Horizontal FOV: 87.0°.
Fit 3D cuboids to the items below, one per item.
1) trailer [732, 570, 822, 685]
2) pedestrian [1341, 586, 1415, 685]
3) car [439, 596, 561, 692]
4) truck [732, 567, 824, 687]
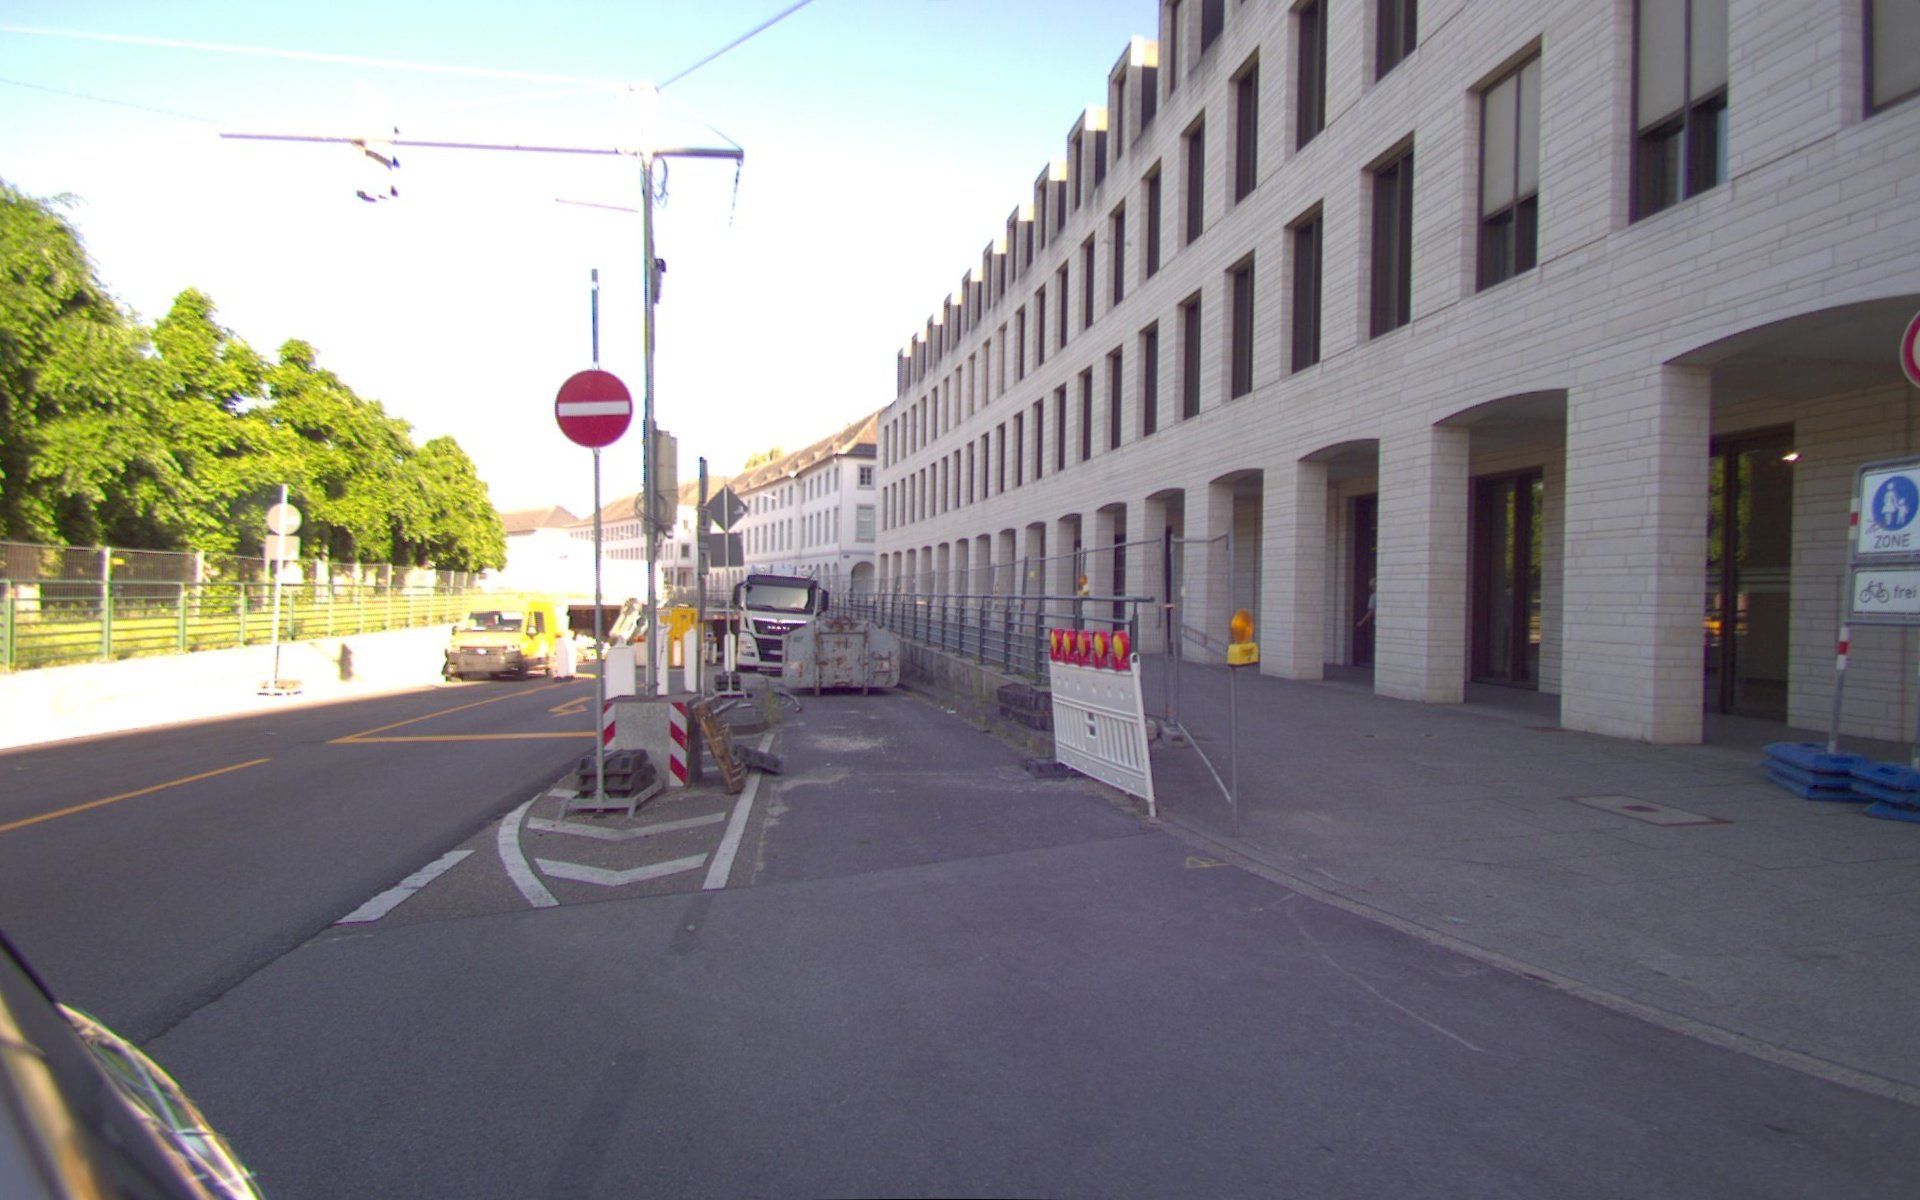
[{"bbox_3d":[-7.124,1.179,38.470,2.606,3.697,8.770,5,-4,-13],"label":"trailer"},{"bbox_3d":[7.368,0.615,17.863,0.846,1.698,0.881,1,-1,-9],"label":"pedestrian"},{"bbox_3d":[-14.124,1.390,31.567,2.083,2.645,7.004,1,-3,-13],"label":"car"},{"bbox_3d":[-6.184,0.989,34.017,2.545,3.516,5.829,4,-4,-11],"label":"truck"}]
